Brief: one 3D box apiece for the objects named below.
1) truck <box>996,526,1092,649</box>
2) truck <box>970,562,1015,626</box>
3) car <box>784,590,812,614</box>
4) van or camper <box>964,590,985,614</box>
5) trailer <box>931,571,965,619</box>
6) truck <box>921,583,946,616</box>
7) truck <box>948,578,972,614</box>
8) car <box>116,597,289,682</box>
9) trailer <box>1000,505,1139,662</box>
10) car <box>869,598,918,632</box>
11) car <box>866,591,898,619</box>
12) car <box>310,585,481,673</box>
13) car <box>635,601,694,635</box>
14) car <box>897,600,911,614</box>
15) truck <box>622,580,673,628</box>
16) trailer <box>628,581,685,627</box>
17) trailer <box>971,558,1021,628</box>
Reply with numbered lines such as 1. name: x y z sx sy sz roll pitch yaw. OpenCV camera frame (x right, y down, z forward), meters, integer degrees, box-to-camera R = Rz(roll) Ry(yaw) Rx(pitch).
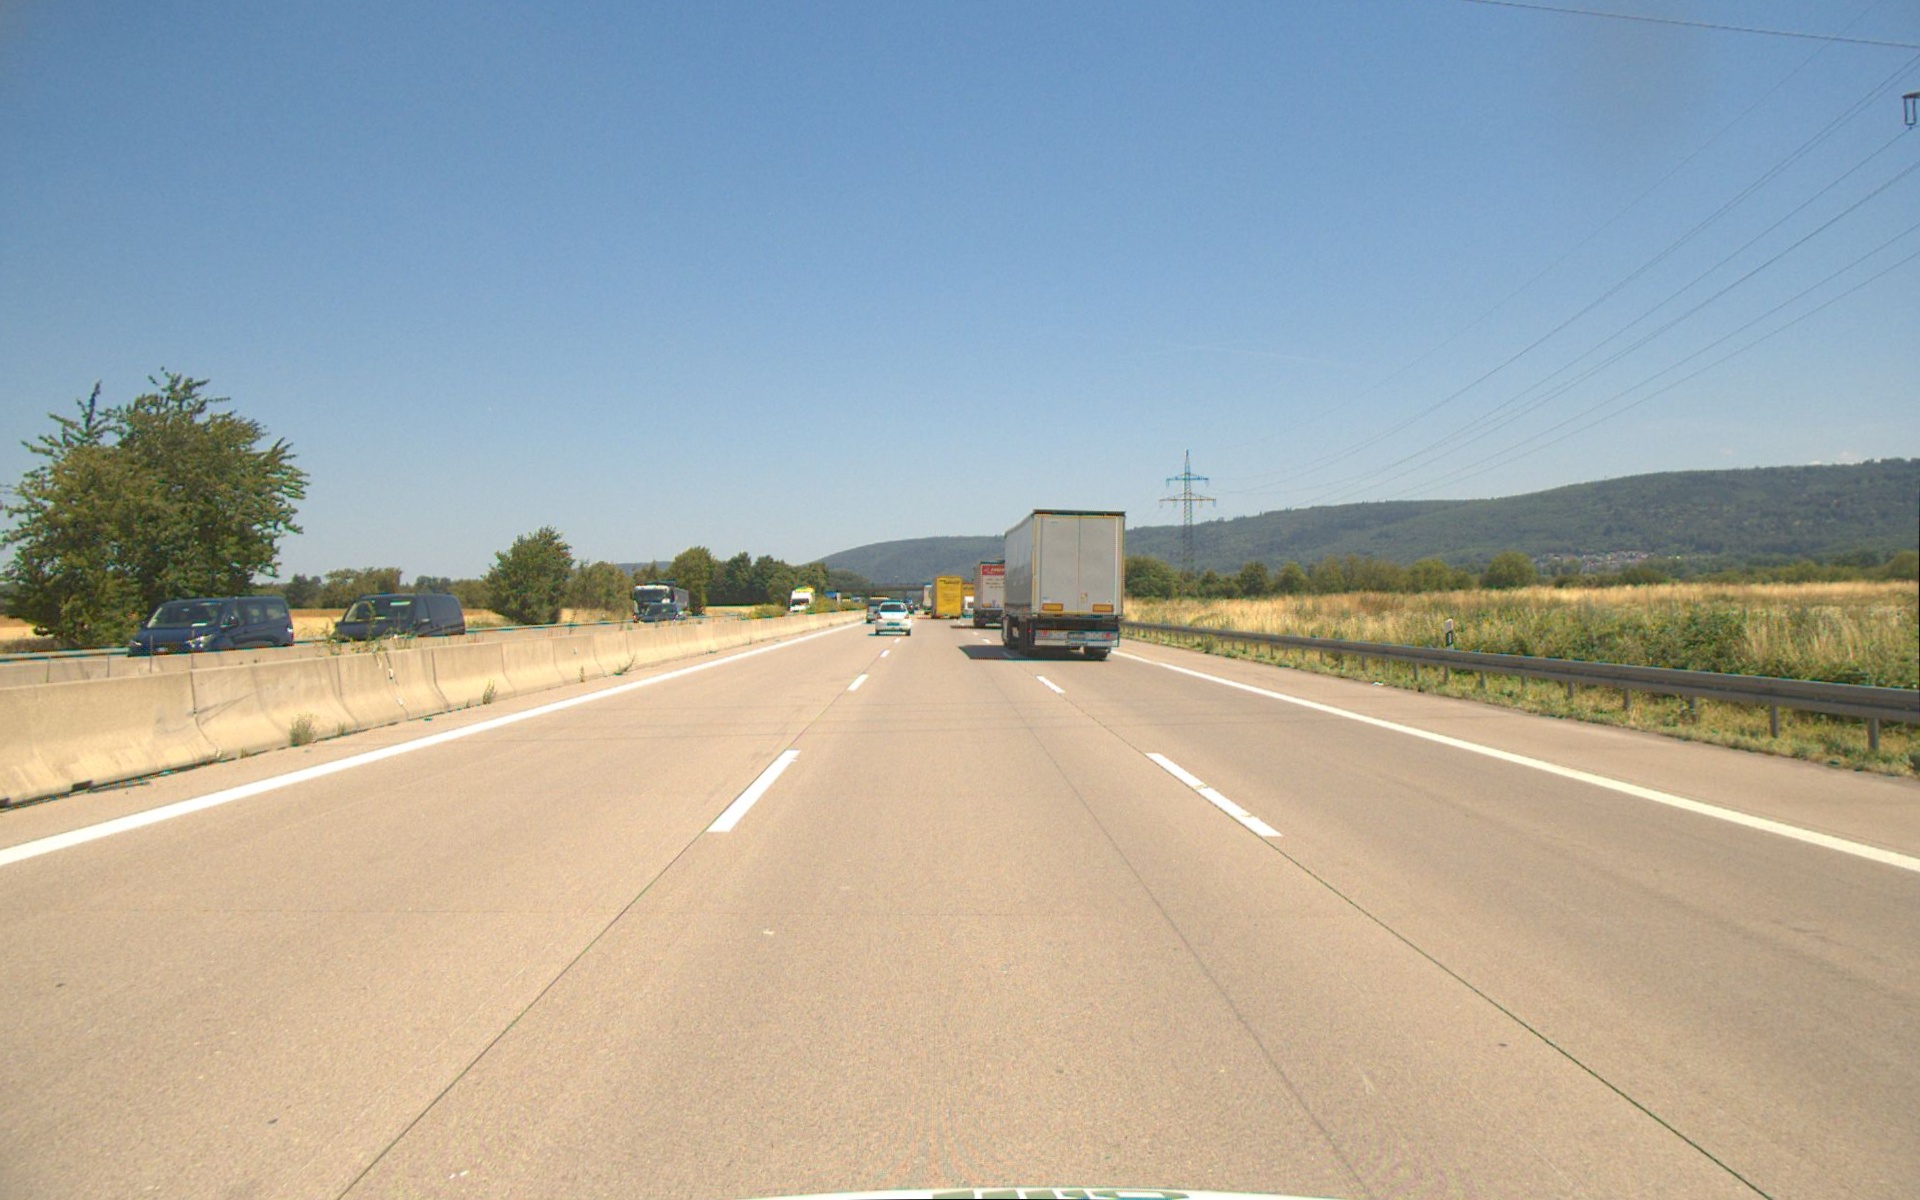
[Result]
1. truck: 2.897 -0.422 58.679 2.924 4.133 5.476 1 0 -1
2. truck: 2.194 -0.389 113.306 2.846 4.172 6.271 1 0 0
3. car: -15.151 0.192 155.011 2.165 2.227 6.323 1 0 -1
4. van or camper: 1.616 0.256 185.433 2.179 2.575 5.429 1 0 -1
5. trailer: -1.248 -0.476 167.410 3.150 4.643 13.454 1 0 -1
6. truck: -3.640 -0.041 226.158 3.285 4.347 8.227 1 0 -1
7. truck: -0.005 -0.489 213.303 2.938 4.390 9.681 1 0 -1
8. car: -17.386 0.860 38.175 2.126 1.821 4.000 1 0 0
9. trailer: 3.109 -0.434 51.347 2.957 4.132 14.202 1 0 -2
10. car: -3.107 0.690 77.920 2.064 1.563 4.122 1 0 0
11. car: -5.814 0.364 123.804 2.208 2.049 4.297 1 0 0
12. car: -13.064 0.635 38.729 1.953 1.858 5.824 1 0 0
13. car: -13.397 0.781 75.225 1.953 1.473 4.681 1 0 -2
14. car: -7.940 0.941 234.497 1.747 1.914 3.999 1 0 -1
15. truck: -22.957 0.298 121.819 2.749 3.362 5.612 1 0 -1
16. trailer: -23.010 0.303 125.905 2.771 3.362 9.460 1 0 -1
17. trailer: 2.223 -0.398 106.551 2.815 4.172 13.511 1 0 0
